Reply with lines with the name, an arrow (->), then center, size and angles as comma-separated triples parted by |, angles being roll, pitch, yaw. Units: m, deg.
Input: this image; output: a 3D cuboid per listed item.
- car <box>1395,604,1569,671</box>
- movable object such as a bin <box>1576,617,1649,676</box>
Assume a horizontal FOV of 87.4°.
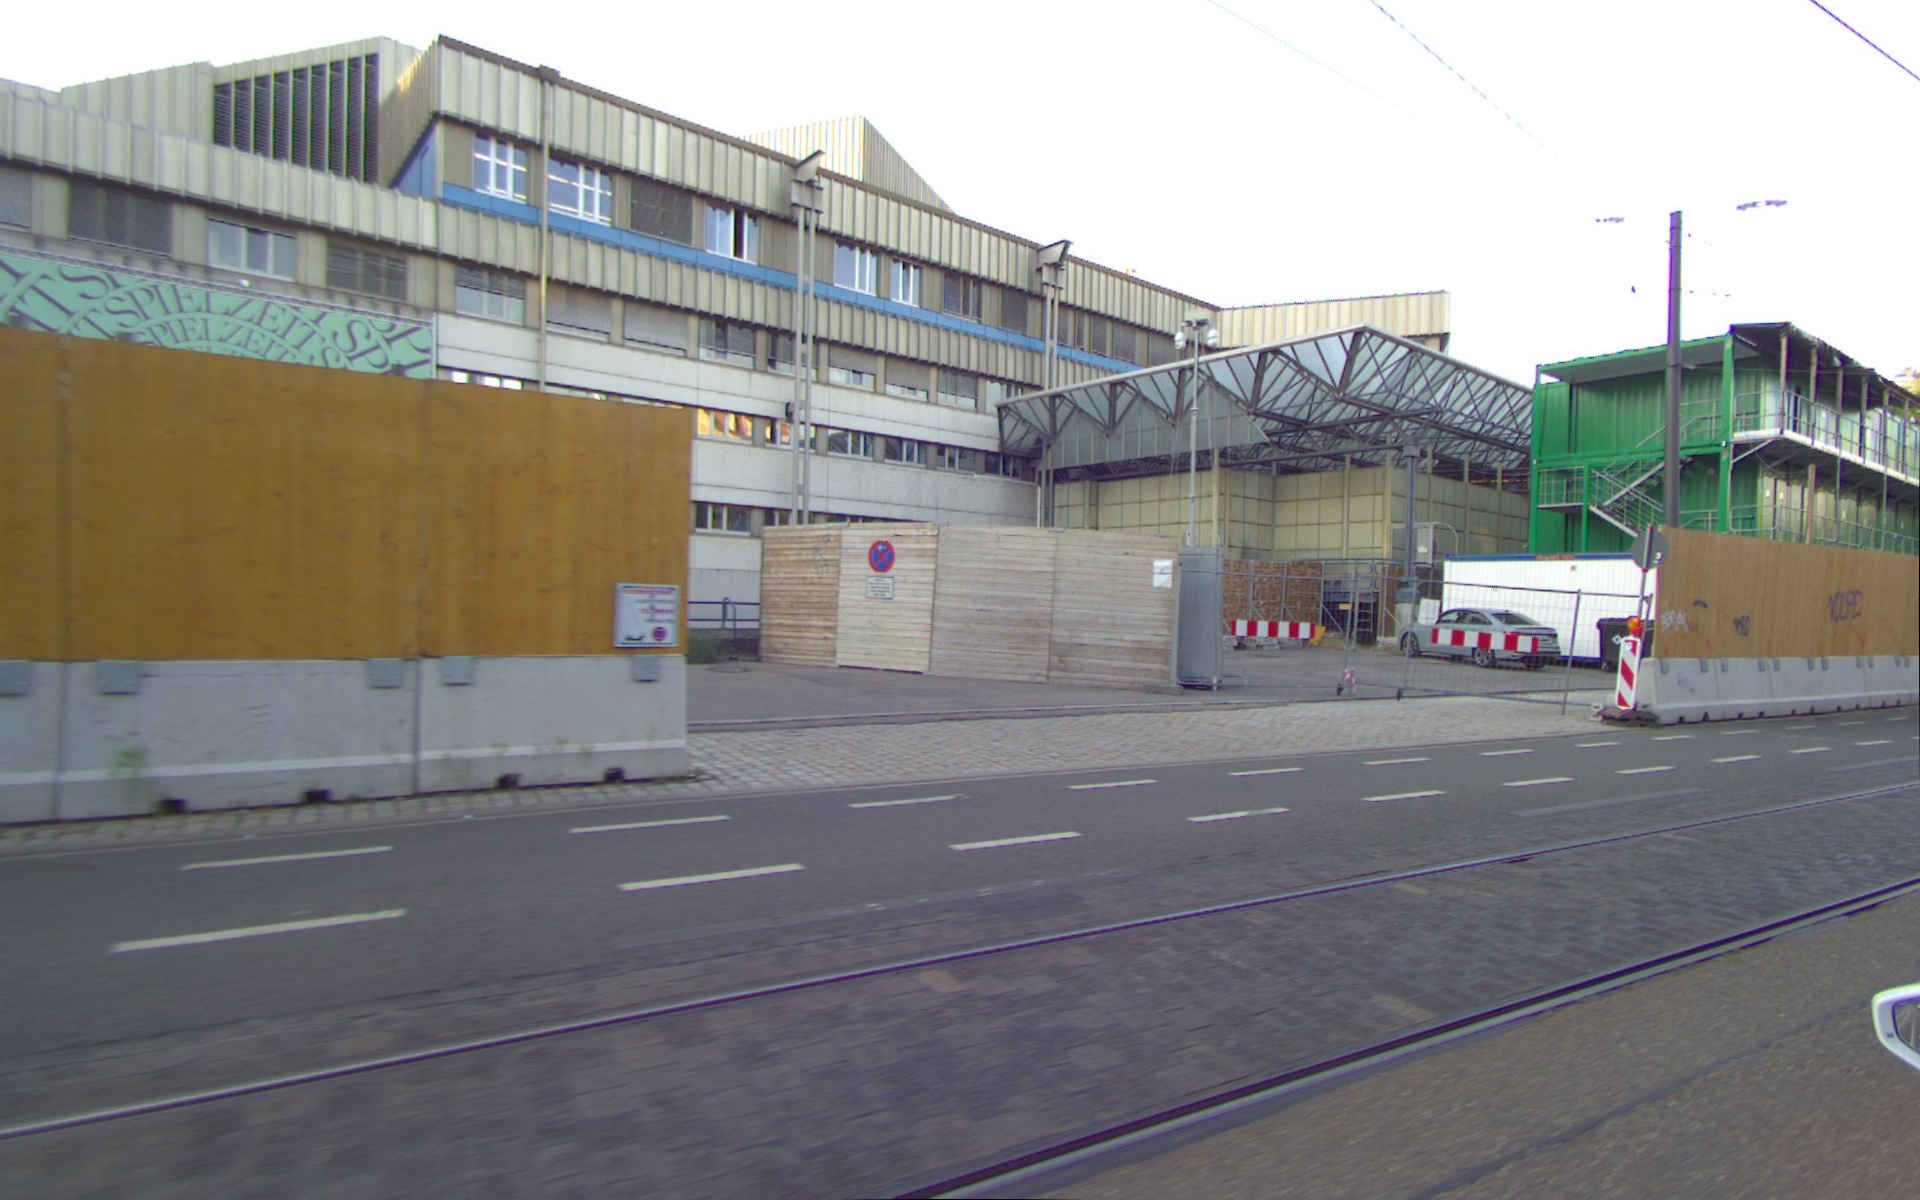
car -> 13.395, 0.911, 26.050 | 1.707, 1.421, 3.994 | 1, 2, -15
movable object such as a bin -> 16.263, 1.148, 25.050 | 0.776, 1.388, 1.298 | 1, 0, -33
